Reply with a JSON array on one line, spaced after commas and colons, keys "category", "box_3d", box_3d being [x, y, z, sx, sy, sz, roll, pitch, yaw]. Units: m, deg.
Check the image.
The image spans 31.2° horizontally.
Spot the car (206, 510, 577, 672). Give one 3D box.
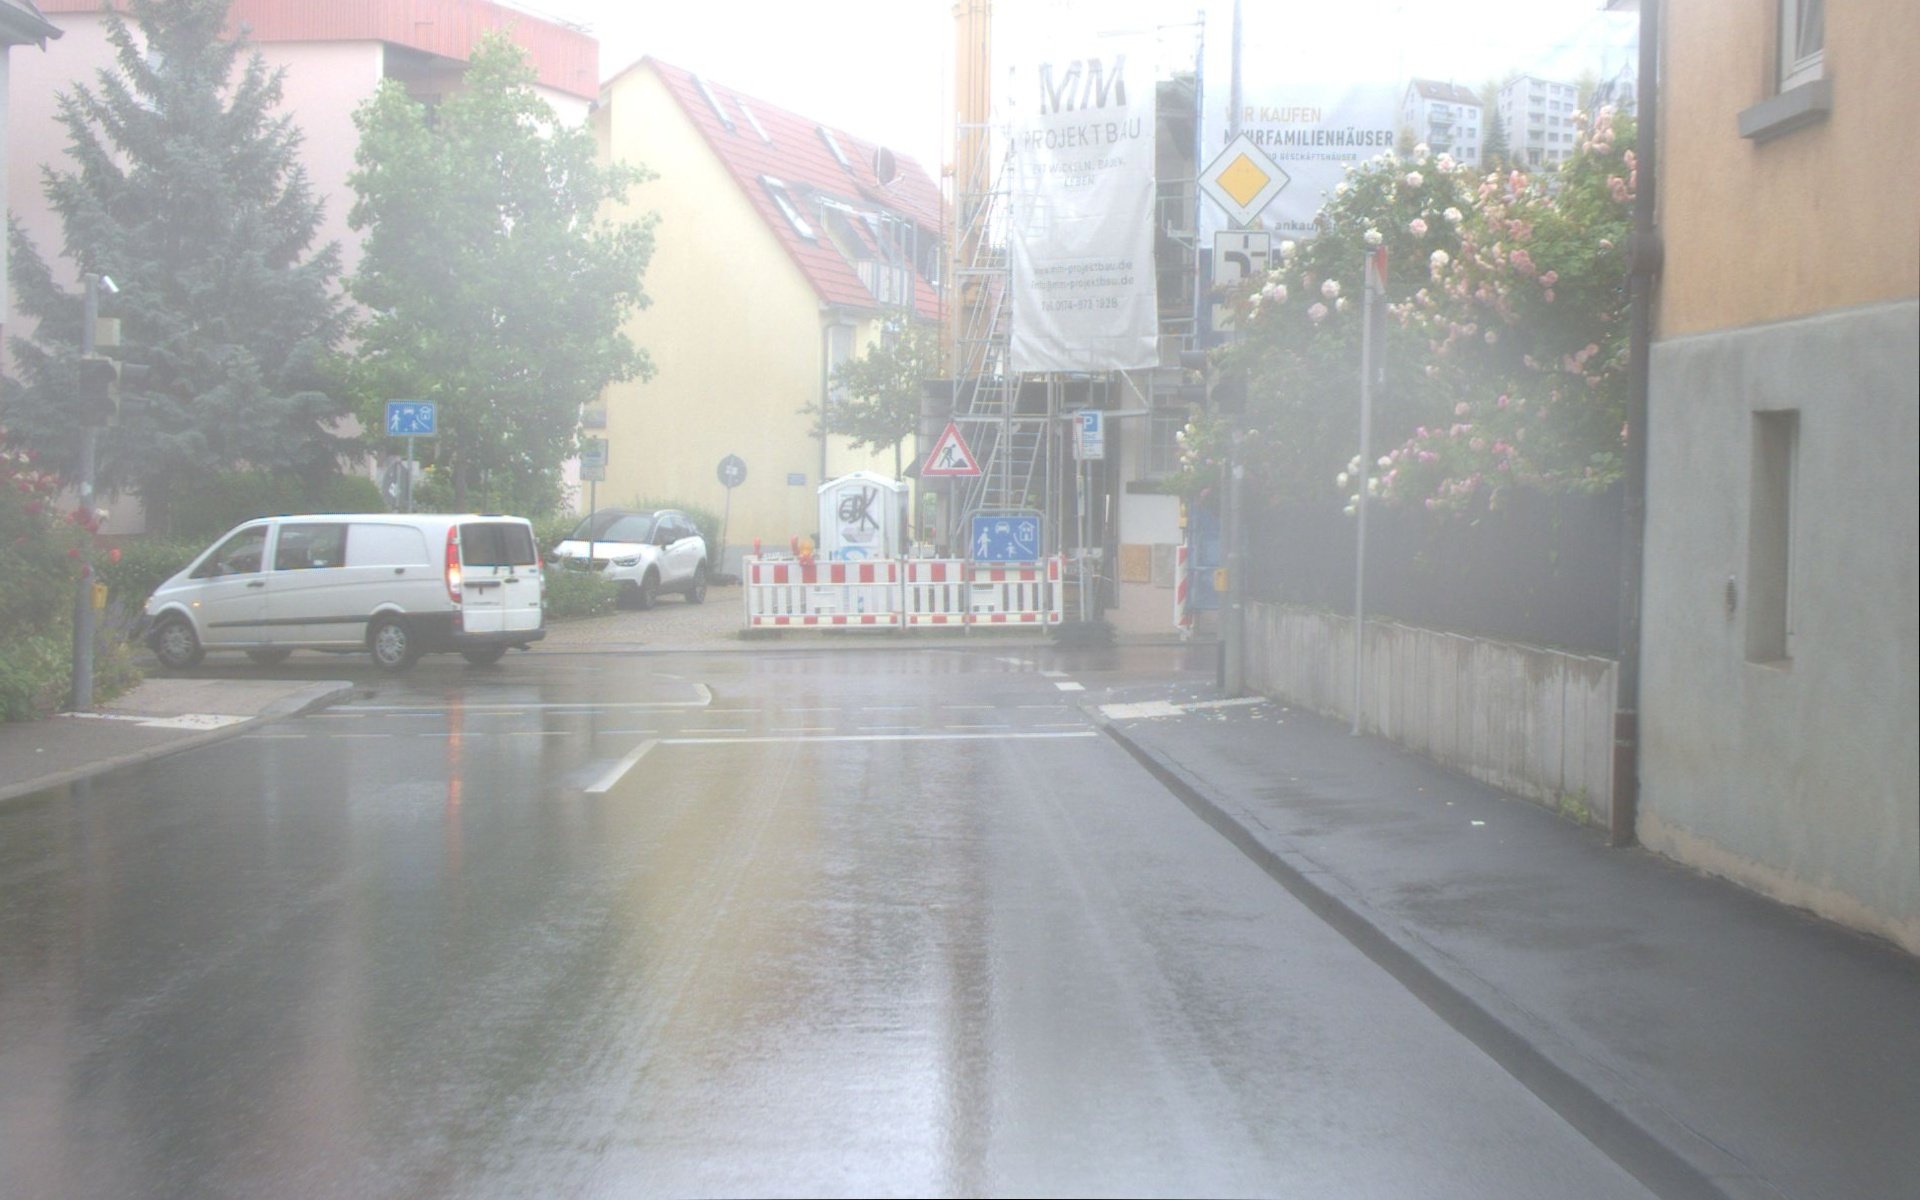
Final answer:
[{"category": "car", "box_3d": [-6.884, -0.131, 41.557, 3.995, 1.863, 2.184, 1, 1, 34]}]

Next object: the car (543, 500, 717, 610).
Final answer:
[{"category": "car", "box_3d": [-5.438, -0.782, 57.046, 1.601, 1.672, 3.936, 2, 3, 14]}]
